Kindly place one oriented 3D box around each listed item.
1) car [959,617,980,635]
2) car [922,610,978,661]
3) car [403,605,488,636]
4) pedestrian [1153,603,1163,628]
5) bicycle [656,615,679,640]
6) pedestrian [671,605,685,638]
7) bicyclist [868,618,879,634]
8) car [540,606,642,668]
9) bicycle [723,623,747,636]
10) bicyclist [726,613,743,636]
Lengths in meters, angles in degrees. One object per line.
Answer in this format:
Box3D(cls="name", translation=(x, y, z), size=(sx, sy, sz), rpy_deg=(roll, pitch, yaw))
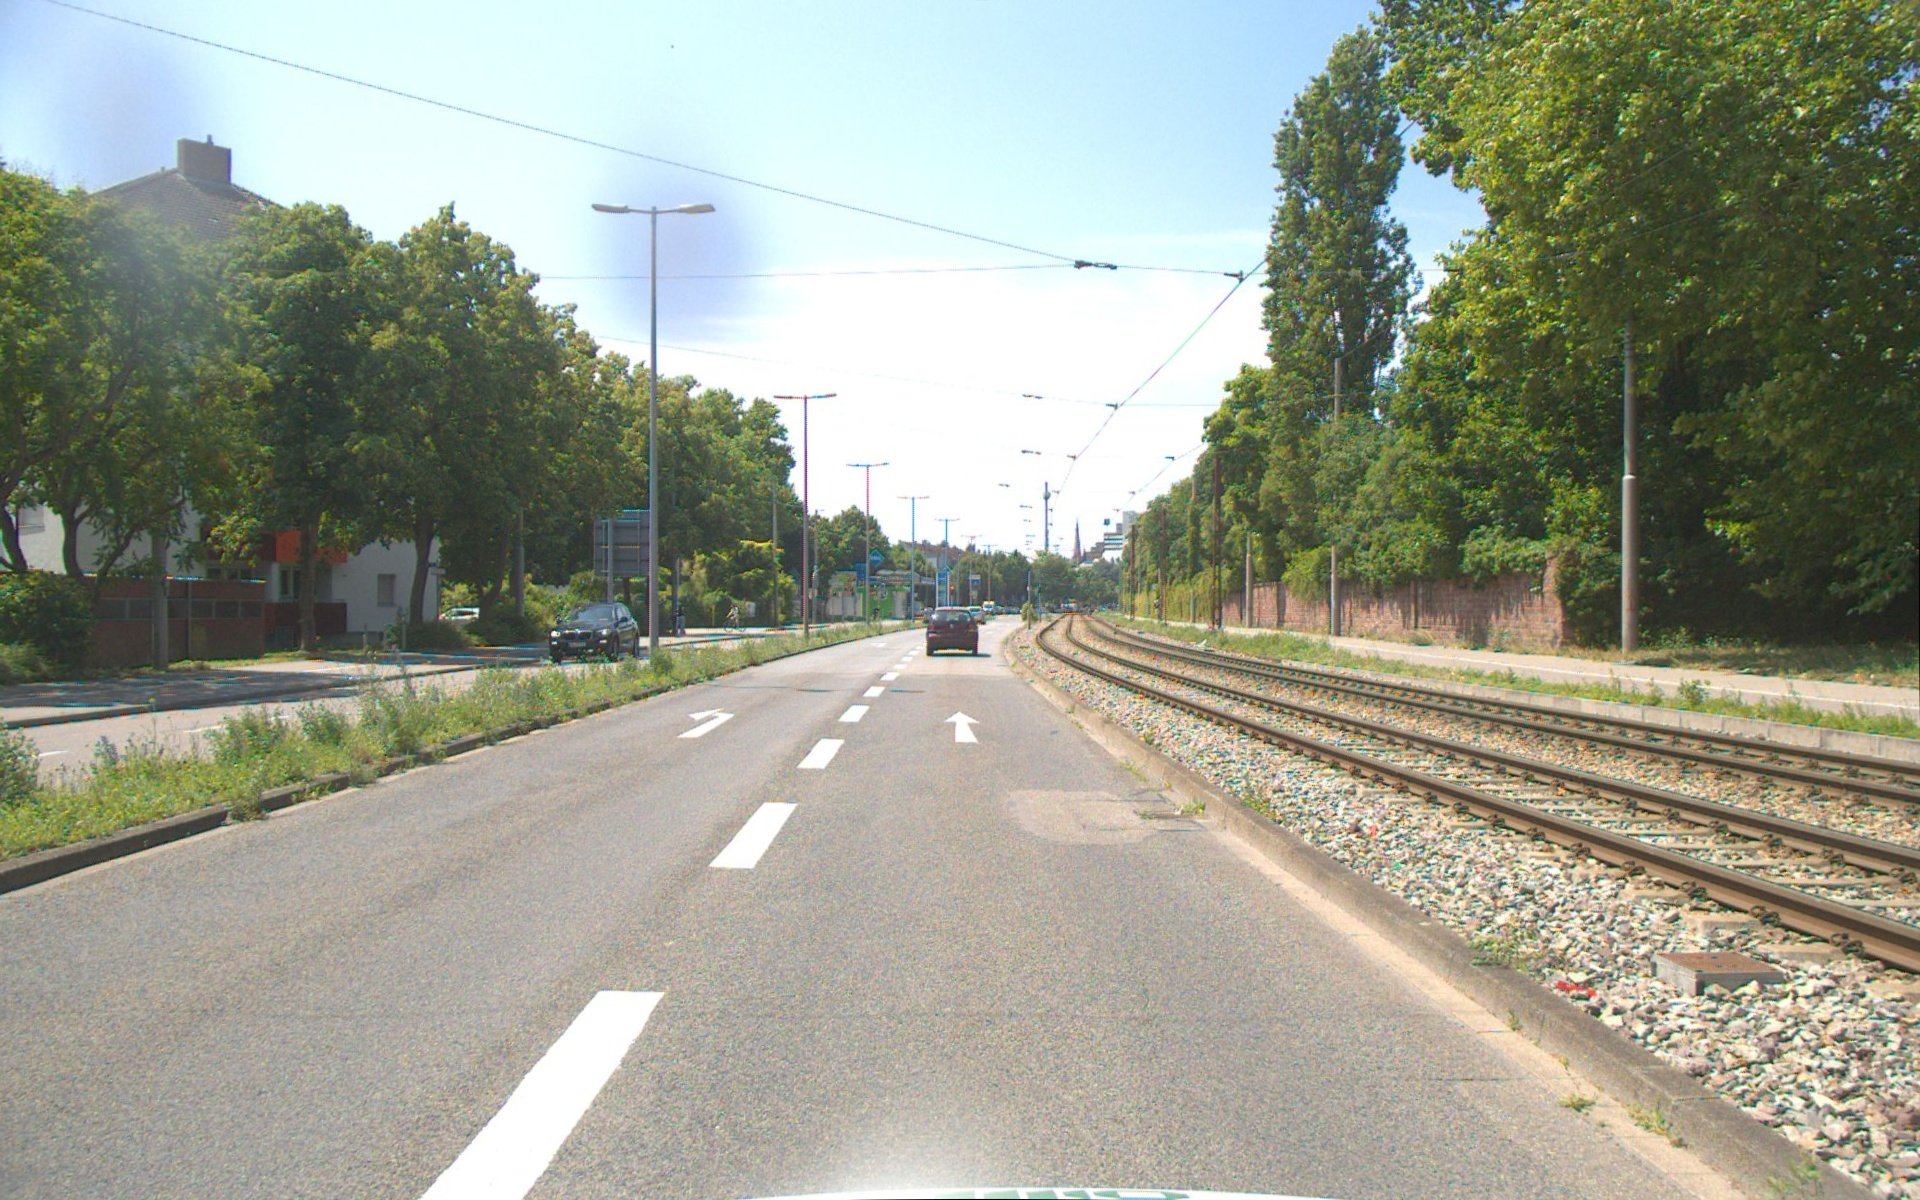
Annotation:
Box3D(cls="car", translation=(0.757, 2.195, 139.875), size=(1.668, 1.507, 3.715), rpy_deg=(1, -1, -1))
Box3D(cls="car", translation=(-0.286, 1.109, 51.318), size=(1.668, 1.503, 3.716), rpy_deg=(1, -2, 0))
Box3D(cls="car", translation=(-31.010, 1.213, 99.807), size=(4.576, 1.789, 1.997), rpy_deg=(-1, 0, -7))
Box3D(cls="pedestrian", translation=(13.749, 1.073, 114.911), size=(0.648, 1.757, 0.817), rpy_deg=(0, -1, 3))
Box3D(cls="bicycle", translation=(-15.719, 1.470, 88.926), size=(0.632, 1.351, 1.574), rpy_deg=(-1, -1, 16))
Box3D(cls="pedestrian", translation=(-15.135, 1.165, 88.867), size=(0.537, 1.748, 0.604), rpy_deg=(-1, -1, 16))
Box3D(cls="bicyclist", translation=(-9.208, 2.759, 175.940), size=(0.927, 1.621, 1.085), rpy_deg=(1, -2, -10))
Box3D(cls="car", translation=(-10.667, 1.056, 48.154), size=(1.884, 1.654, 4.755), rpy_deg=(-2, -1, 0))
Box3D(cls="bicycle", translation=(-14.390, 1.890, 105.767), size=(1.417, 0.787, 0.491), rpy_deg=(0, -1, -38))
Box3D(cls="bicyclist", translation=(-14.394, 1.559, 105.771), size=(0.954, 1.428, 0.484), rpy_deg=(0, -1, -38))
